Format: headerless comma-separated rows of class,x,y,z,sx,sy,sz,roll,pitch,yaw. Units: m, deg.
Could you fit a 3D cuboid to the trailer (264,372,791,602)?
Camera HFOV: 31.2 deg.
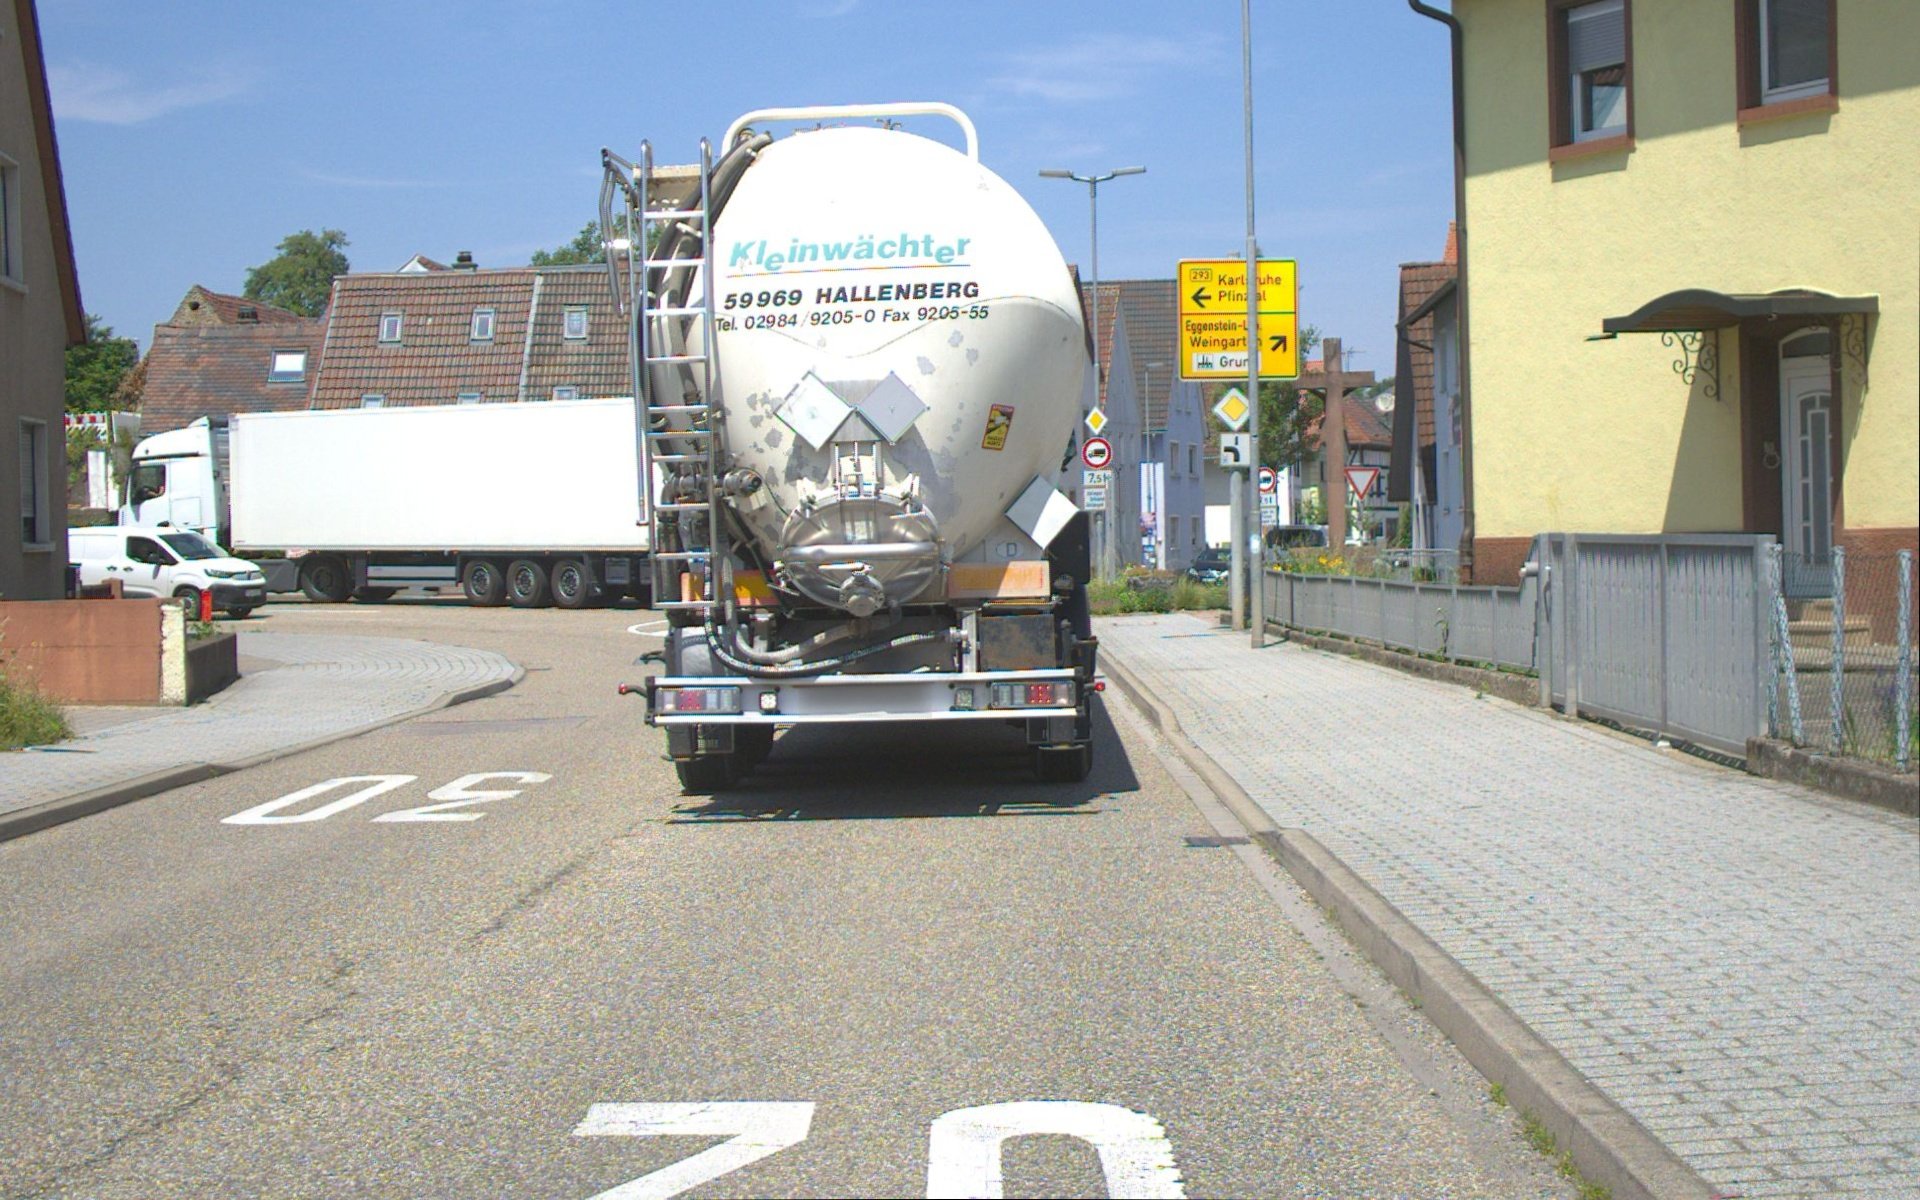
trailer,-8.933,-2.104,69.146,12.485,4.262,3.134,0,0,42

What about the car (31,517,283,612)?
car,-15.669,-0.706,67.112,4.512,1.779,1.878,0,2,22

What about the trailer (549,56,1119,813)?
trailer,-0.706,-0.938,23.767,2.952,3.934,11.619,0,1,0

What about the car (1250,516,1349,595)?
car,8.678,-1.104,87.601,1.995,1.906,4.321,0,-1,13

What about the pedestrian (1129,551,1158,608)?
pedestrian,6.571,-0.734,123.008,0.770,2.007,0.975,0,1,21

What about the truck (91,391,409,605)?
truck,-15.178,-2.125,73.539,5.922,4.386,3.111,0,0,23

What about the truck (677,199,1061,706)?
truck,-0.684,-1.191,29.773,2.987,3.951,5.579,0,1,1
